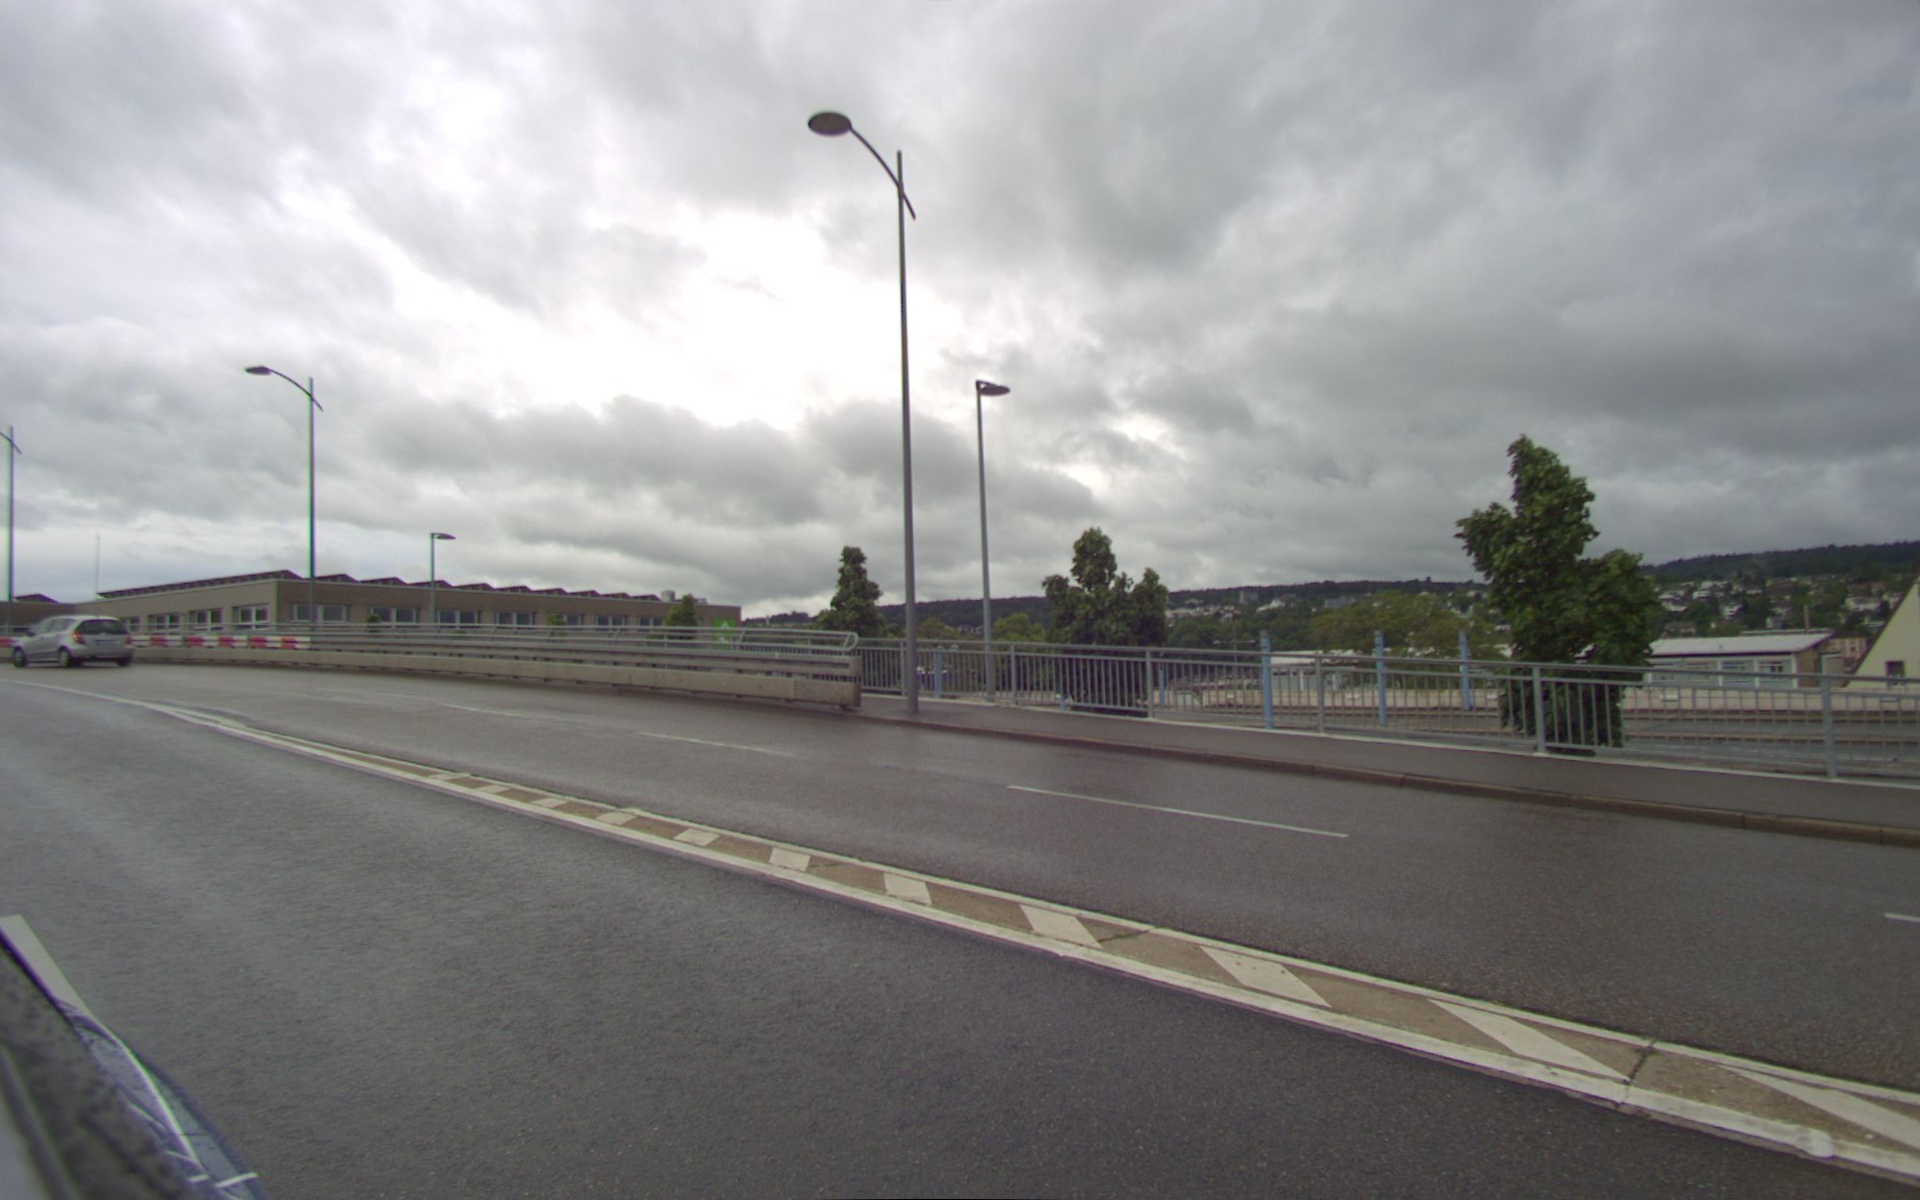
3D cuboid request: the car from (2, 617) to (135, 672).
[{"bbox_3d":[-27.893,1.371,31.681,3.685,1.621,1.638,0,-2,22],"label":"car"}]
